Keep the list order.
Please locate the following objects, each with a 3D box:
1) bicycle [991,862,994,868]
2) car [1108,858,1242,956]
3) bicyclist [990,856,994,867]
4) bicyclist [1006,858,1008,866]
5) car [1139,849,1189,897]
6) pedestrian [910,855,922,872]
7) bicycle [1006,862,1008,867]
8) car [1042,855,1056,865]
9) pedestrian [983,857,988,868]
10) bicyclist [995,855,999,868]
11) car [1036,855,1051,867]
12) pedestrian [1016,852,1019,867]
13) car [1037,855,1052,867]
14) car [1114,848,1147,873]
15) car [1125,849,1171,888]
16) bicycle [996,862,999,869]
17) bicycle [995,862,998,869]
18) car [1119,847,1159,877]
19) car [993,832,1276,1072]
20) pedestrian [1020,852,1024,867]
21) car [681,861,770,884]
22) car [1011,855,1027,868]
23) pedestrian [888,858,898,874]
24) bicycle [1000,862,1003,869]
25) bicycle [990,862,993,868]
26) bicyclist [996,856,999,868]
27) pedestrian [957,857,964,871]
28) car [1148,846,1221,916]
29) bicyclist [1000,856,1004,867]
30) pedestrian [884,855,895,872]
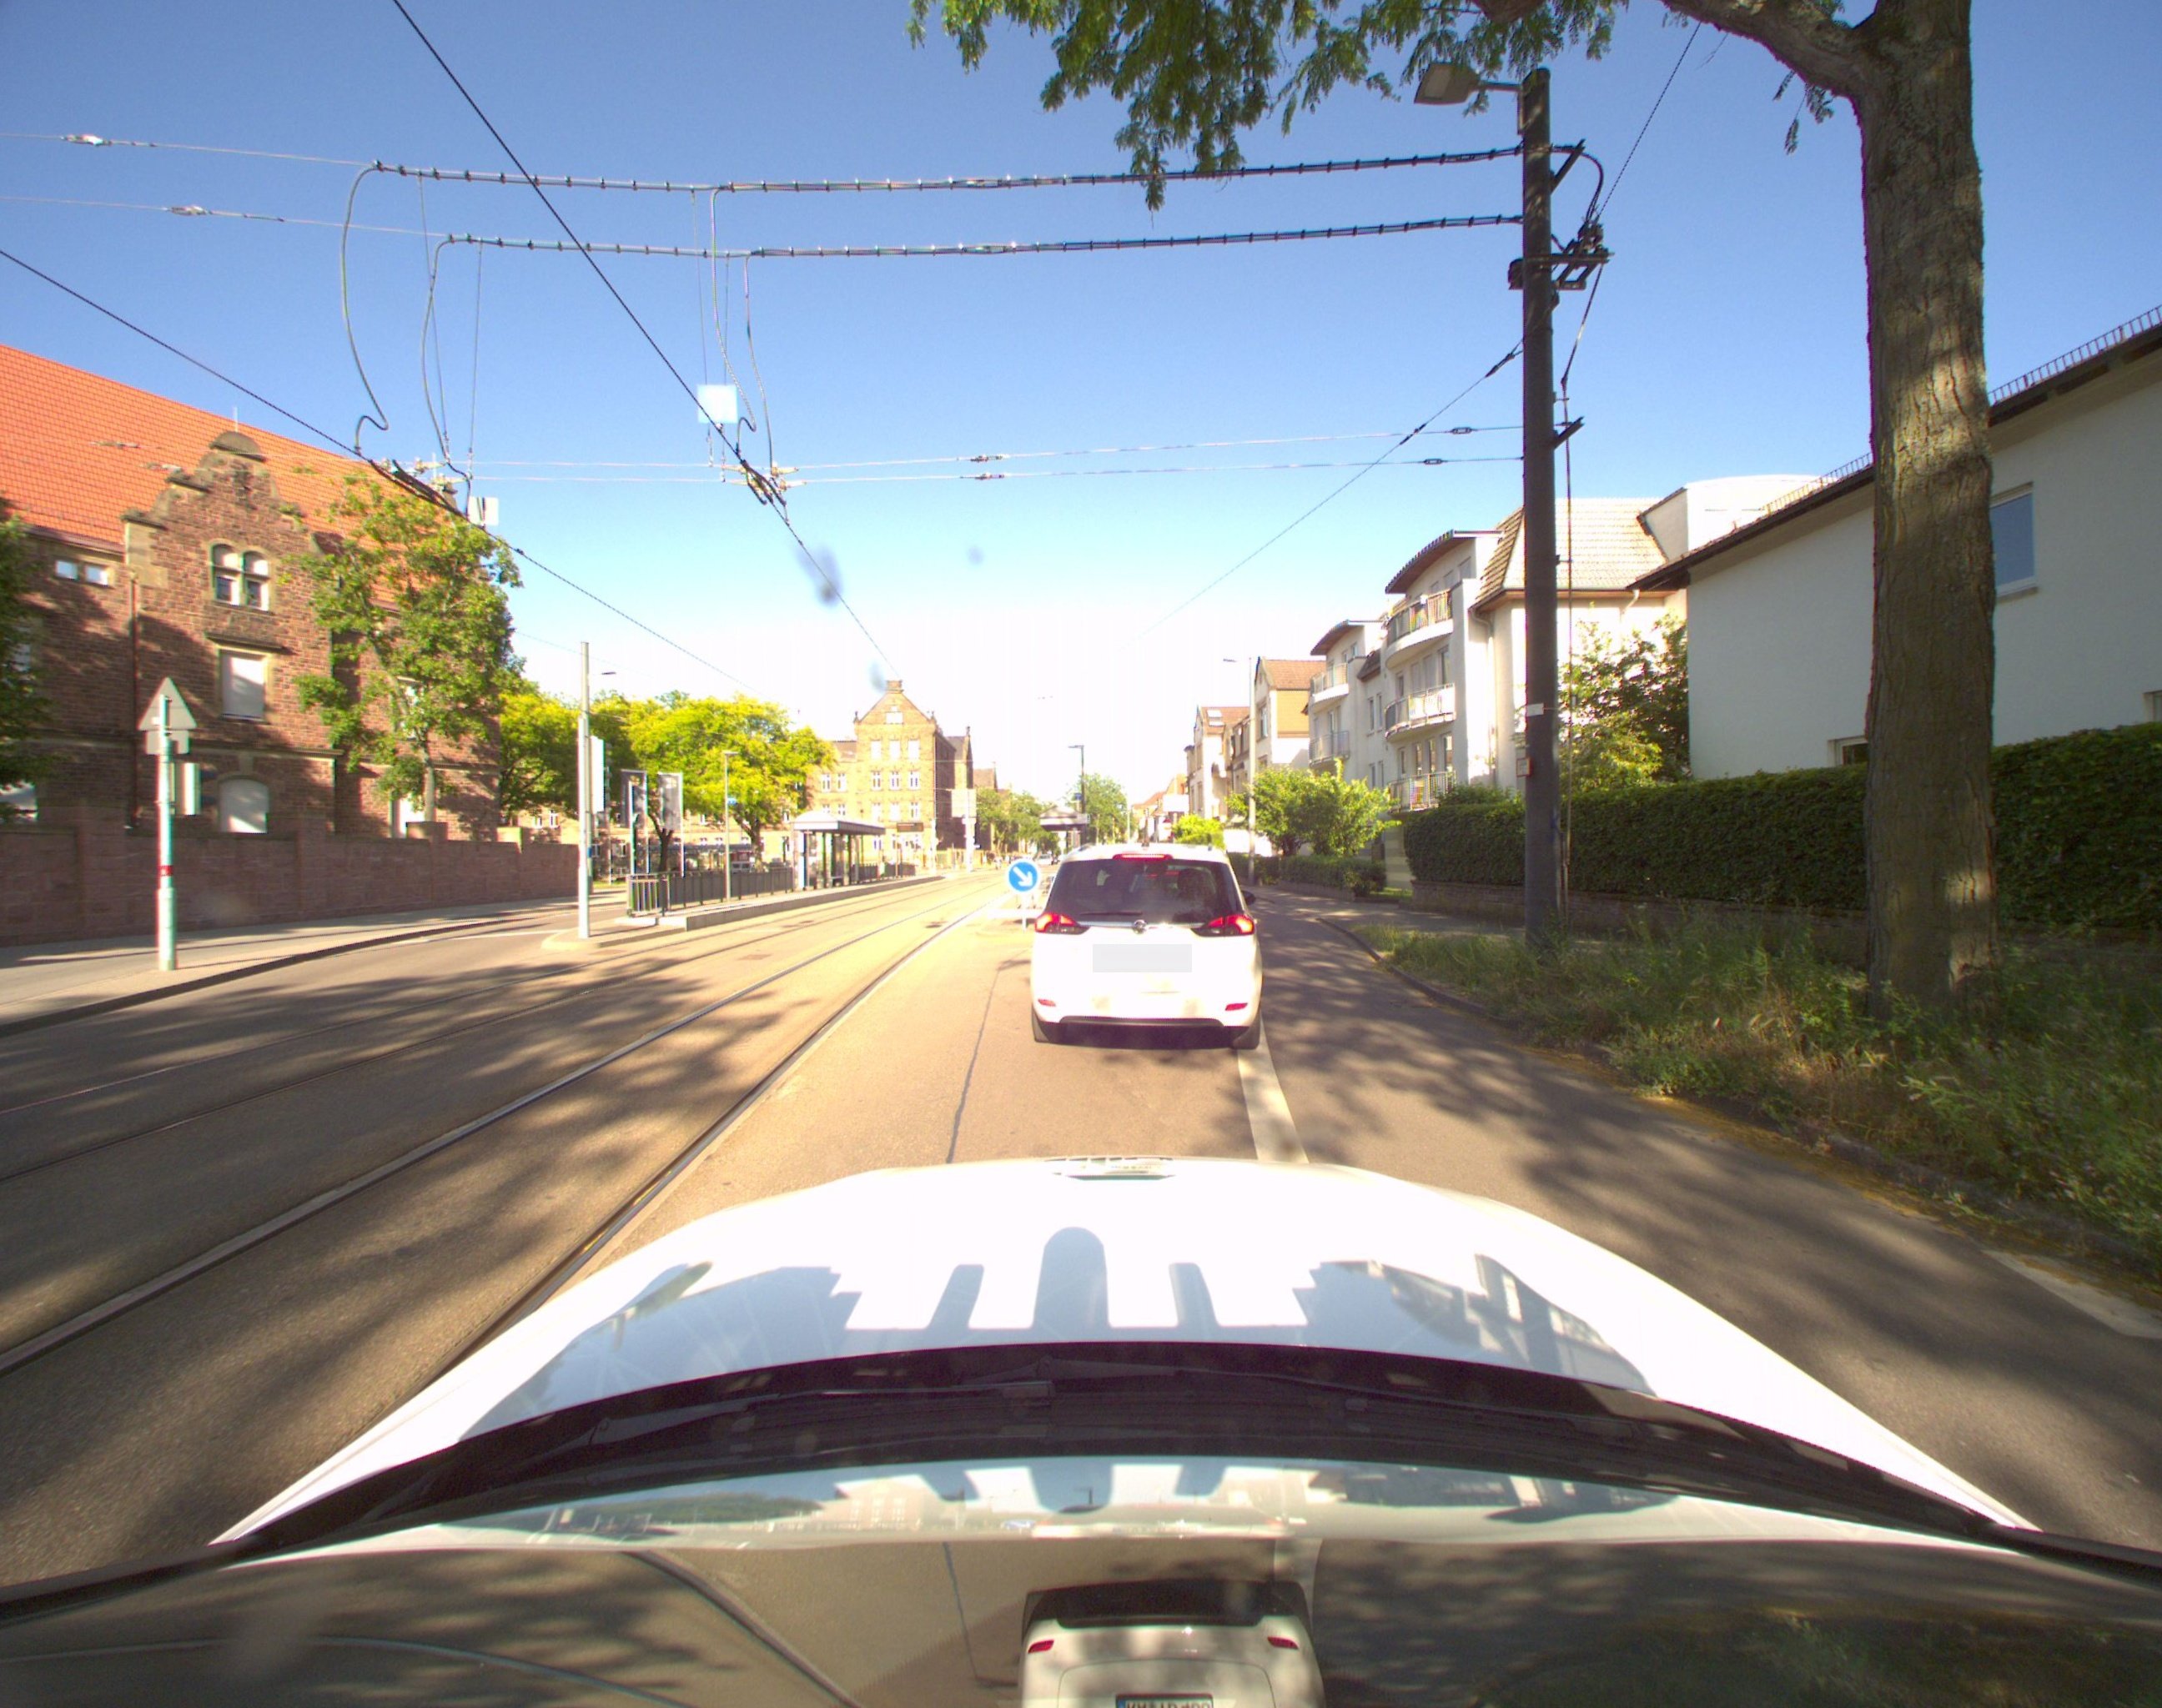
[{"bbox_3d":[-12.420,1.534,113.793,0.343,0.950,0.996,0,-1,-1],"label":"bicycle"},{"bbox_3d":[1.532,0.793,14.059,1.944,1.397,4.005,-1,0,4],"label":"car"},{"bbox_3d":[-12.449,1.066,113.754,0.443,1.553,0.495,-1,0,-2],"label":"bicyclist"},{"bbox_3d":[-11.613,1.236,127.866,0.358,1.303,0.397,-1,0,-2],"label":"bicyclist"},{"bbox_3d":[2.944,0.640,29.314,1.630,1.601,3.859,-1,0,4],"label":"car"},{"bbox_3d":[-16.458,0.935,81.263,0.892,1.684,1.029,0,-1,1],"label":"pedestrian"},{"bbox_3d":[-11.607,1.605,127.845,0.343,0.725,0.996,0,-1,-1],"label":"bicycle"},{"bbox_3d":[-5.130,0.935,130.985,1.987,1.629,4.000,-1,0,0],"label":"car"},{"bbox_3d":[-15.343,1.369,131.357,0.733,1.714,0.753,0,-1,-4],"label":"pedestrian"},{"bbox_3d":[-10.706,0.970,103.728,0.443,1.553,0.742,-1,0,-2],"label":"bicyclist"},{"bbox_3d":[-5.296,0.976,114.738,1.989,1.629,3.996,-1,0,-3],"label":"car"},{"bbox_3d":[-8.768,0.798,112.360,0.443,2.013,0.495,-1,0,-2],"label":"pedestrian"},{"bbox_3d":[-4.815,0.914,107.616,1.989,1.629,3.996,-1,0,-3],"label":"car"},{"bbox_3d":[3.102,0.394,51.837,1.986,1.503,4.002,-1,0,2],"label":"car"},{"bbox_3d":[2.931,0.617,36.244,1.824,1.579,4.012,-1,0,2],"label":"car"},{"bbox_3d":[-11.003,1.468,107.059,0.343,0.950,0.996,0,-1,-1],"label":"bicycle"},{"bbox_3d":[-10.714,1.436,103.517,0.343,0.950,1.160,0,-1,-1],"label":"bicycle"},{"bbox_3d":[3.127,0.422,44.370,1.986,1.503,4.002,-1,0,2],"label":"car"},{"bbox_3d":[0.644,0.685,7.698,1.982,1.644,4.003,0,0,8],"label":"car"},{"bbox_3d":[-8.154,0.796,112.643,0.443,2.013,0.495,-1,0,-2],"label":"pedestrian"},{"bbox_3d":[-32.960,1.718,75.694,6.926,1.921,2.992,-1,0,0],"label":"car"},{"bbox_3d":[-8.191,0.946,107.474,1.989,1.629,3.996,-1,0,-3],"label":"car"},{"bbox_3d":[-19.080,1.196,82.484,0.799,1.588,0.934,0,-1,-1],"label":"pedestrian"},{"bbox_3d":[-10.661,1.486,109.602,0.343,0.950,0.996,0,-1,-1],"label":"bicycle"},{"bbox_3d":[-12.677,1.551,115.630,0.343,0.950,0.996,0,-1,-1],"label":"bicycle"},{"bbox_3d":[-10.979,1.000,107.019,0.443,1.553,0.495,-1,0,-2],"label":"bicyclist"},{"bbox_3d":[-14.717,1.241,99.621,0.732,1.714,0.707,0,-1,1],"label":"pedestrian"},{"bbox_3d":[2.574,0.641,20.888,1.630,1.601,3.859,-1,0,4],"label":"car"},{"bbox_3d":[-10.662,1.019,109.597,0.443,1.553,0.495,-1,0,-2],"label":"bicyclist"},{"bbox_3d":[-18.881,0.953,80.434,0.839,1.691,1.029,0,-1,1],"label":"pedestrian"}]
